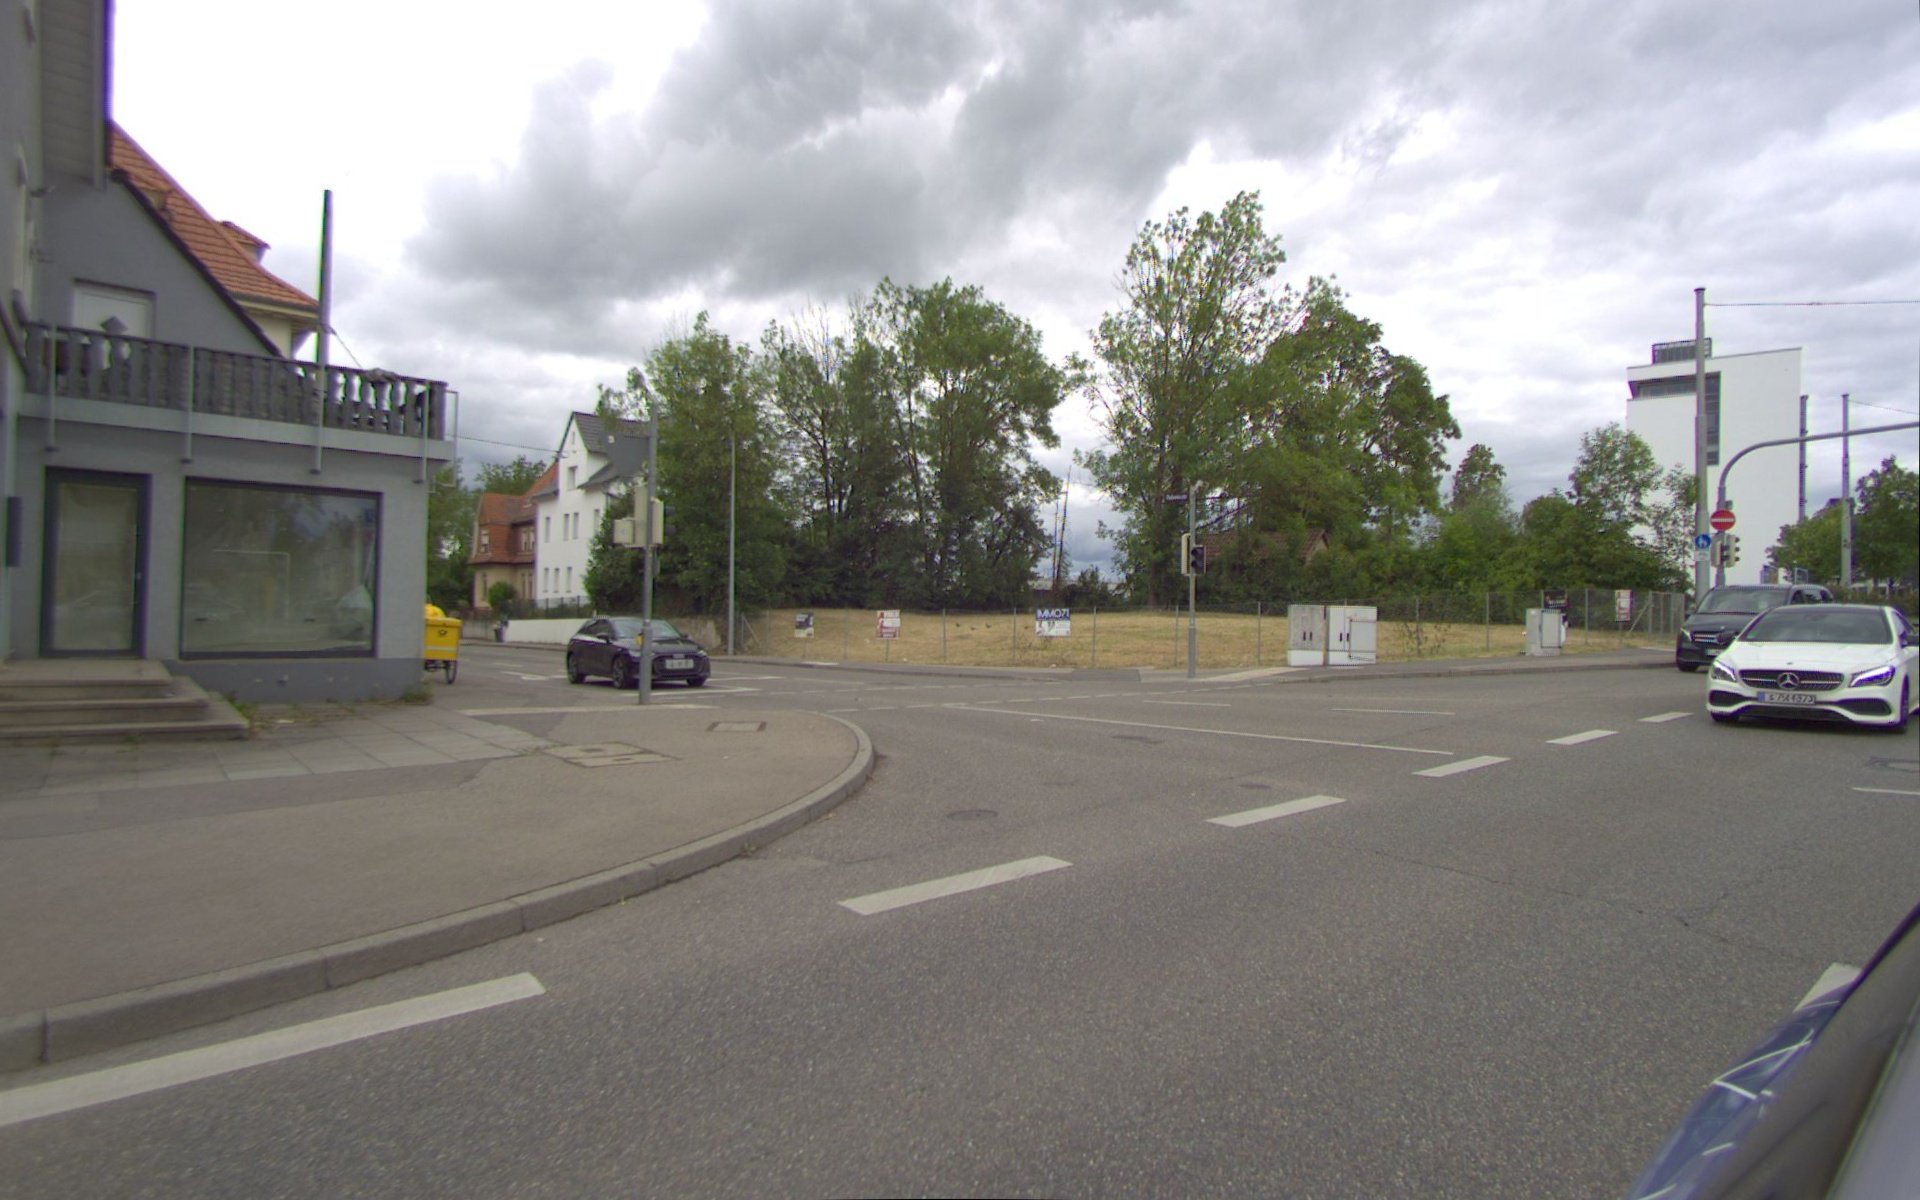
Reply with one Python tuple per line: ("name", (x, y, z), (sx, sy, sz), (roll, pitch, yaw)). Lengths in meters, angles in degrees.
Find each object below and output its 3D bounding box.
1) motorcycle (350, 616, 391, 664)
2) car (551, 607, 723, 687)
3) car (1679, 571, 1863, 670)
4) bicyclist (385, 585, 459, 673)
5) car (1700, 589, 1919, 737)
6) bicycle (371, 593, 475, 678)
("motorcycle", (-17.215, 1.141, 29.523), (0.673, 1.333, 2.310), (3, -2, -38))
("car", (-6.778, 0.899, 20.975), (1.874, 1.440, 4.349), (-1, 0, -40))
("car", (17.479, 0.347, 21.739), (4.785, 1.911, 2.015), (-1, 1, -38))
("bicyclist", (-10.492, 0.561, 19.743), (0.947, 1.619, 0.935), (6, -3, -44))
("car", (11.002, 0.629, 12.622), (4.616, 1.491, 1.798), (-1, 1, -40))
("bicycle", (-10.480, 0.682, 19.682), (2.677, 1.528, 0.947), (-1, -5, 45))
